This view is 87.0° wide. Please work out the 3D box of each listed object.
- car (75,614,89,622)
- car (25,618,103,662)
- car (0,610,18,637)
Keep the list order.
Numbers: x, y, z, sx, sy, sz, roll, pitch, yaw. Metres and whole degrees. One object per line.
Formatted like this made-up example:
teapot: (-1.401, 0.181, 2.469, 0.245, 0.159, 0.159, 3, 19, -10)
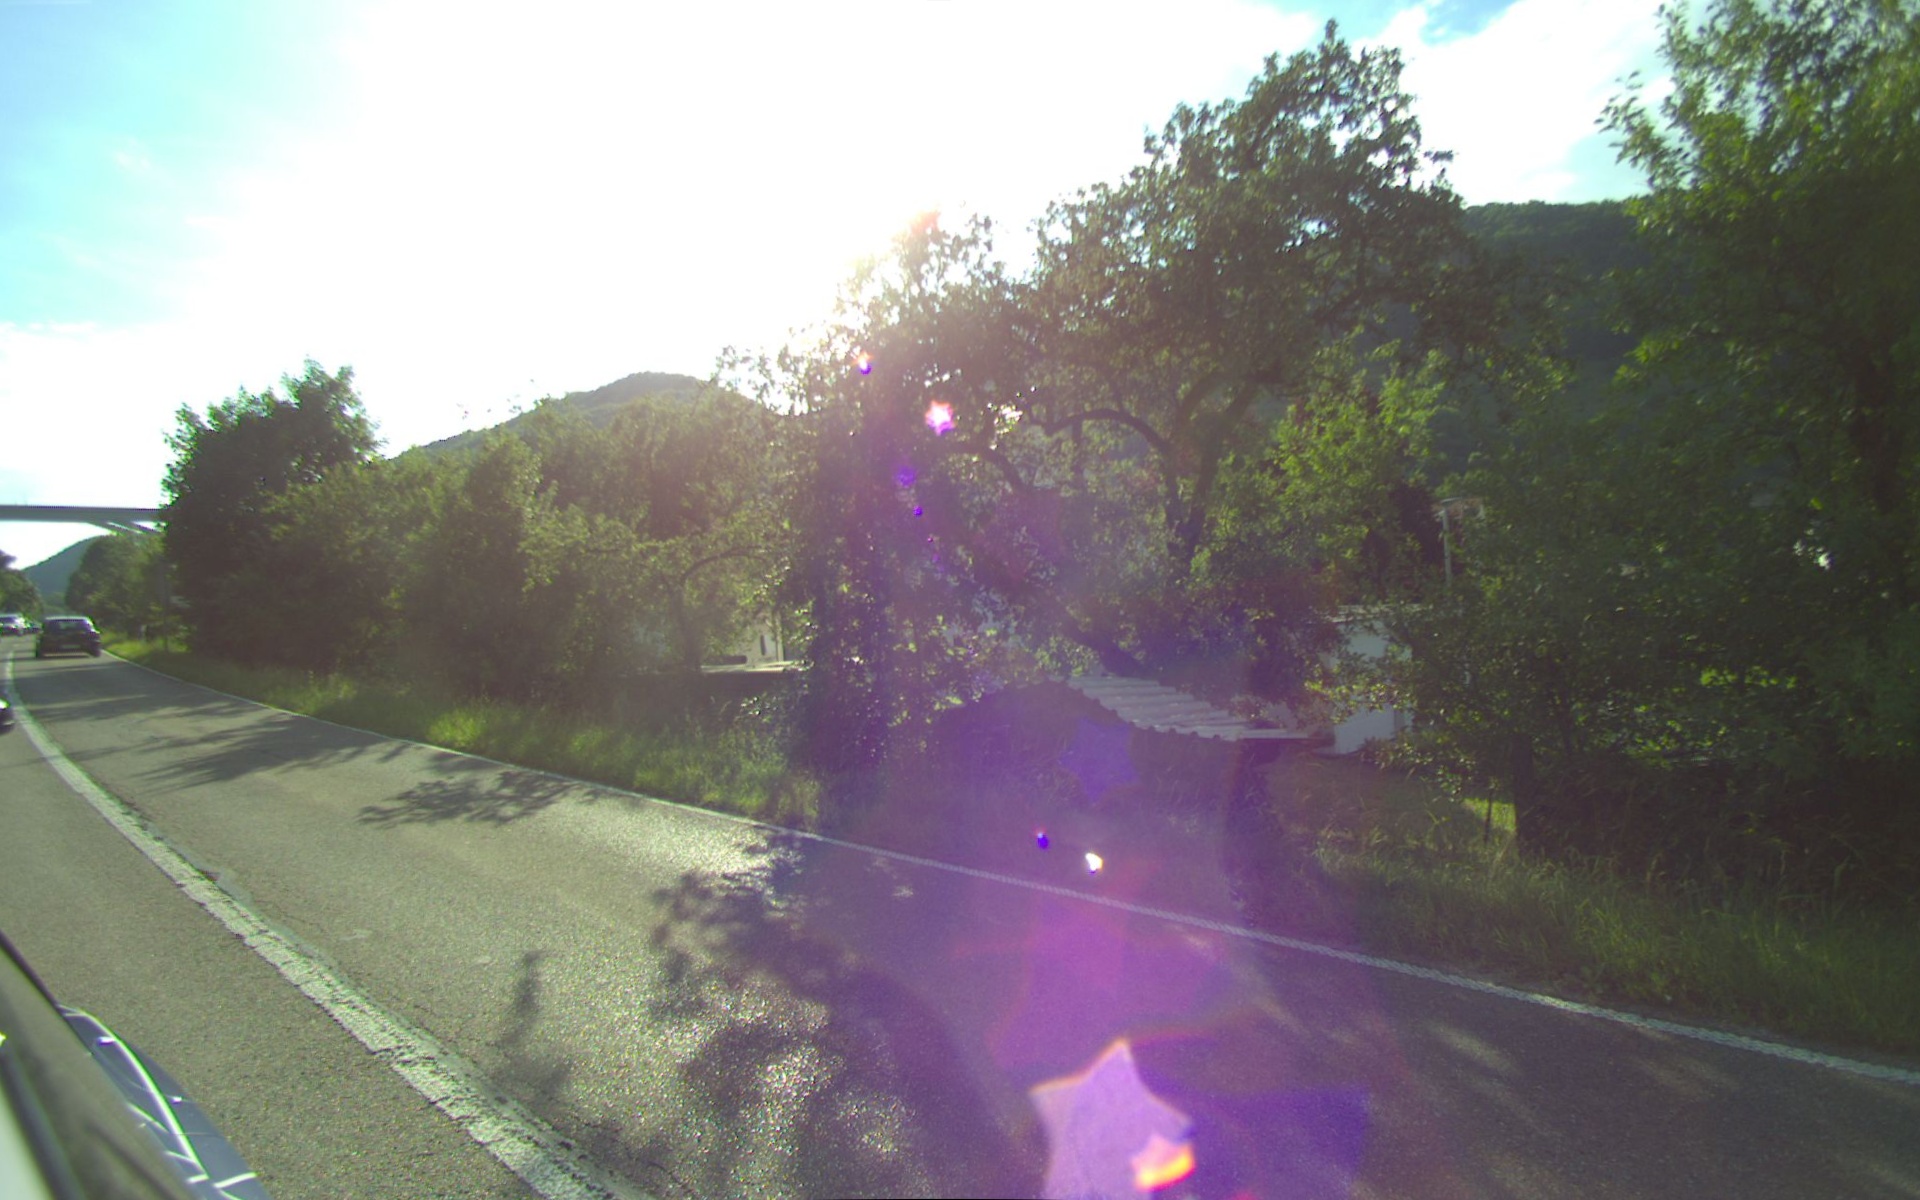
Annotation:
car: (-156.417, 3.150, 180.228, 1.576, 1.364, 4.205, -1, 0, -45)
car: (-31.962, 1.385, 36.083, 4.050, 1.441, 1.685, -1, 0, 43)
car: (-73.852, 1.812, 77.880, 1.970, 2.029, 4.004, -1, 0, -43)
